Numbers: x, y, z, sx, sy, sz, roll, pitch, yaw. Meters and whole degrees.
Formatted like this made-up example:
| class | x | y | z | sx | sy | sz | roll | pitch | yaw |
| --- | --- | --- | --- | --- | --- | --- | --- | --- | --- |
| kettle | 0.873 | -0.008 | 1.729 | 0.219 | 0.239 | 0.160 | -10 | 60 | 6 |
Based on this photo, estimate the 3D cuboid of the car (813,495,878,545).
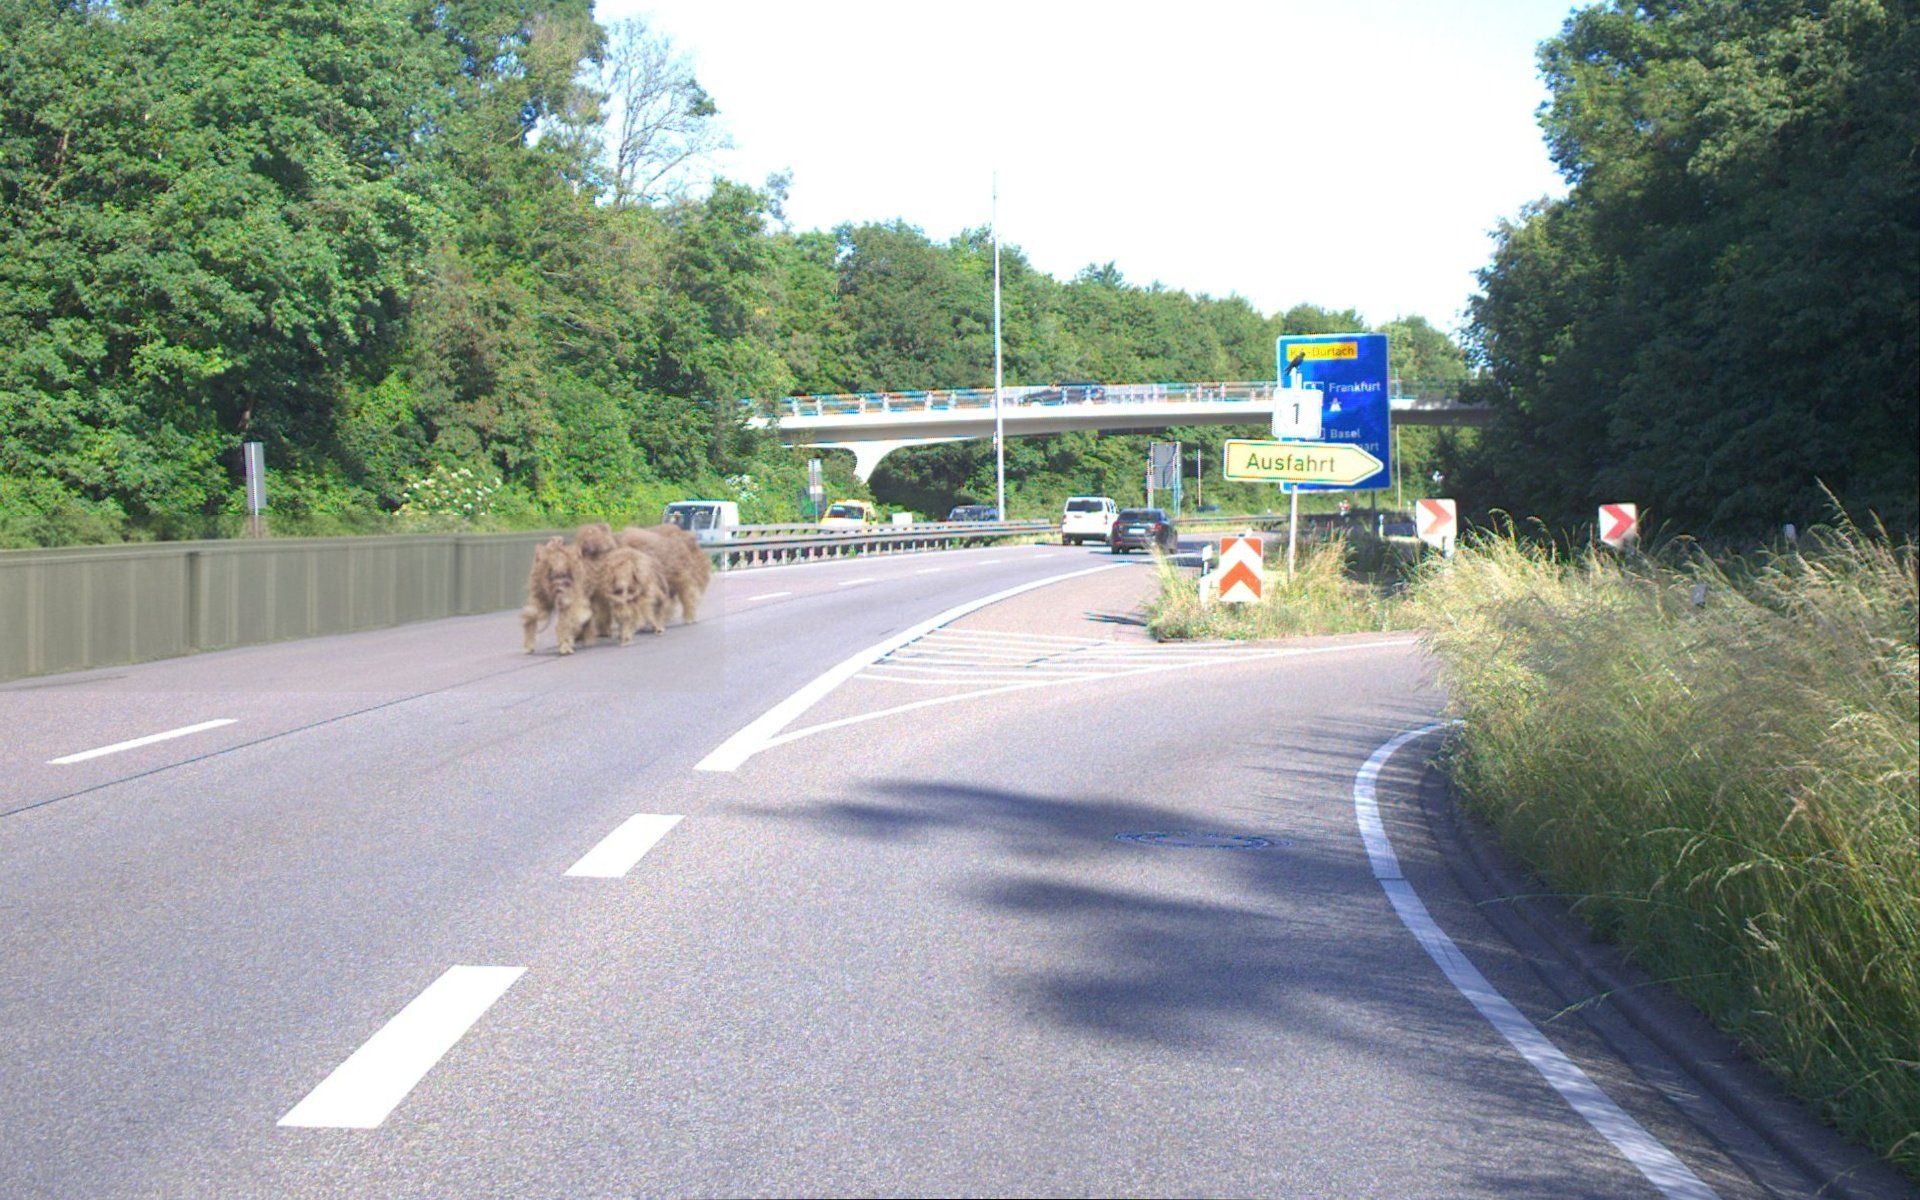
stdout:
| class | x | y | z | sx | sy | sz | roll | pitch | yaw |
| --- | --- | --- | --- | --- | --- | --- | --- | --- | --- |
| car | -4.654 | -3.260 | 139.899 | 1.994 | 2.007 | 3.999 | 0 | 1 | 8 |

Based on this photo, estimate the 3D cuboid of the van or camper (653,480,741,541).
| class | x | y | z | sx | sy | sz | roll | pitch | yaw |
| --- | --- | --- | --- | --- | --- | --- | --- | --- | --- |
| van or camper | -8.941 | -3.051 | 117.131 | 2.074 | 2.007 | 4.817 | 0 | 1 | 7 |

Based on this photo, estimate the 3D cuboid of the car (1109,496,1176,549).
| class | x | y | z | sx | sy | sz | roll | pitch | yaw |
| --- | --- | --- | --- | --- | --- | --- | --- | --- | --- |
| car | 5.845 | -2.477 | 109.793 | 1.740 | 1.656 | 3.944 | 0 | 1 | 9 |

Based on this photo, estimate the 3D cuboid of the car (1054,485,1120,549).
| class | x | y | z | sx | sy | sz | roll | pitch | yaw |
| --- | --- | --- | --- | --- | --- | --- | --- | --- | --- |
| car | 4.652 | -3.024 | 125.335 | 1.994 | 2.269 | 3.999 | 0 | 1 | 8 |
